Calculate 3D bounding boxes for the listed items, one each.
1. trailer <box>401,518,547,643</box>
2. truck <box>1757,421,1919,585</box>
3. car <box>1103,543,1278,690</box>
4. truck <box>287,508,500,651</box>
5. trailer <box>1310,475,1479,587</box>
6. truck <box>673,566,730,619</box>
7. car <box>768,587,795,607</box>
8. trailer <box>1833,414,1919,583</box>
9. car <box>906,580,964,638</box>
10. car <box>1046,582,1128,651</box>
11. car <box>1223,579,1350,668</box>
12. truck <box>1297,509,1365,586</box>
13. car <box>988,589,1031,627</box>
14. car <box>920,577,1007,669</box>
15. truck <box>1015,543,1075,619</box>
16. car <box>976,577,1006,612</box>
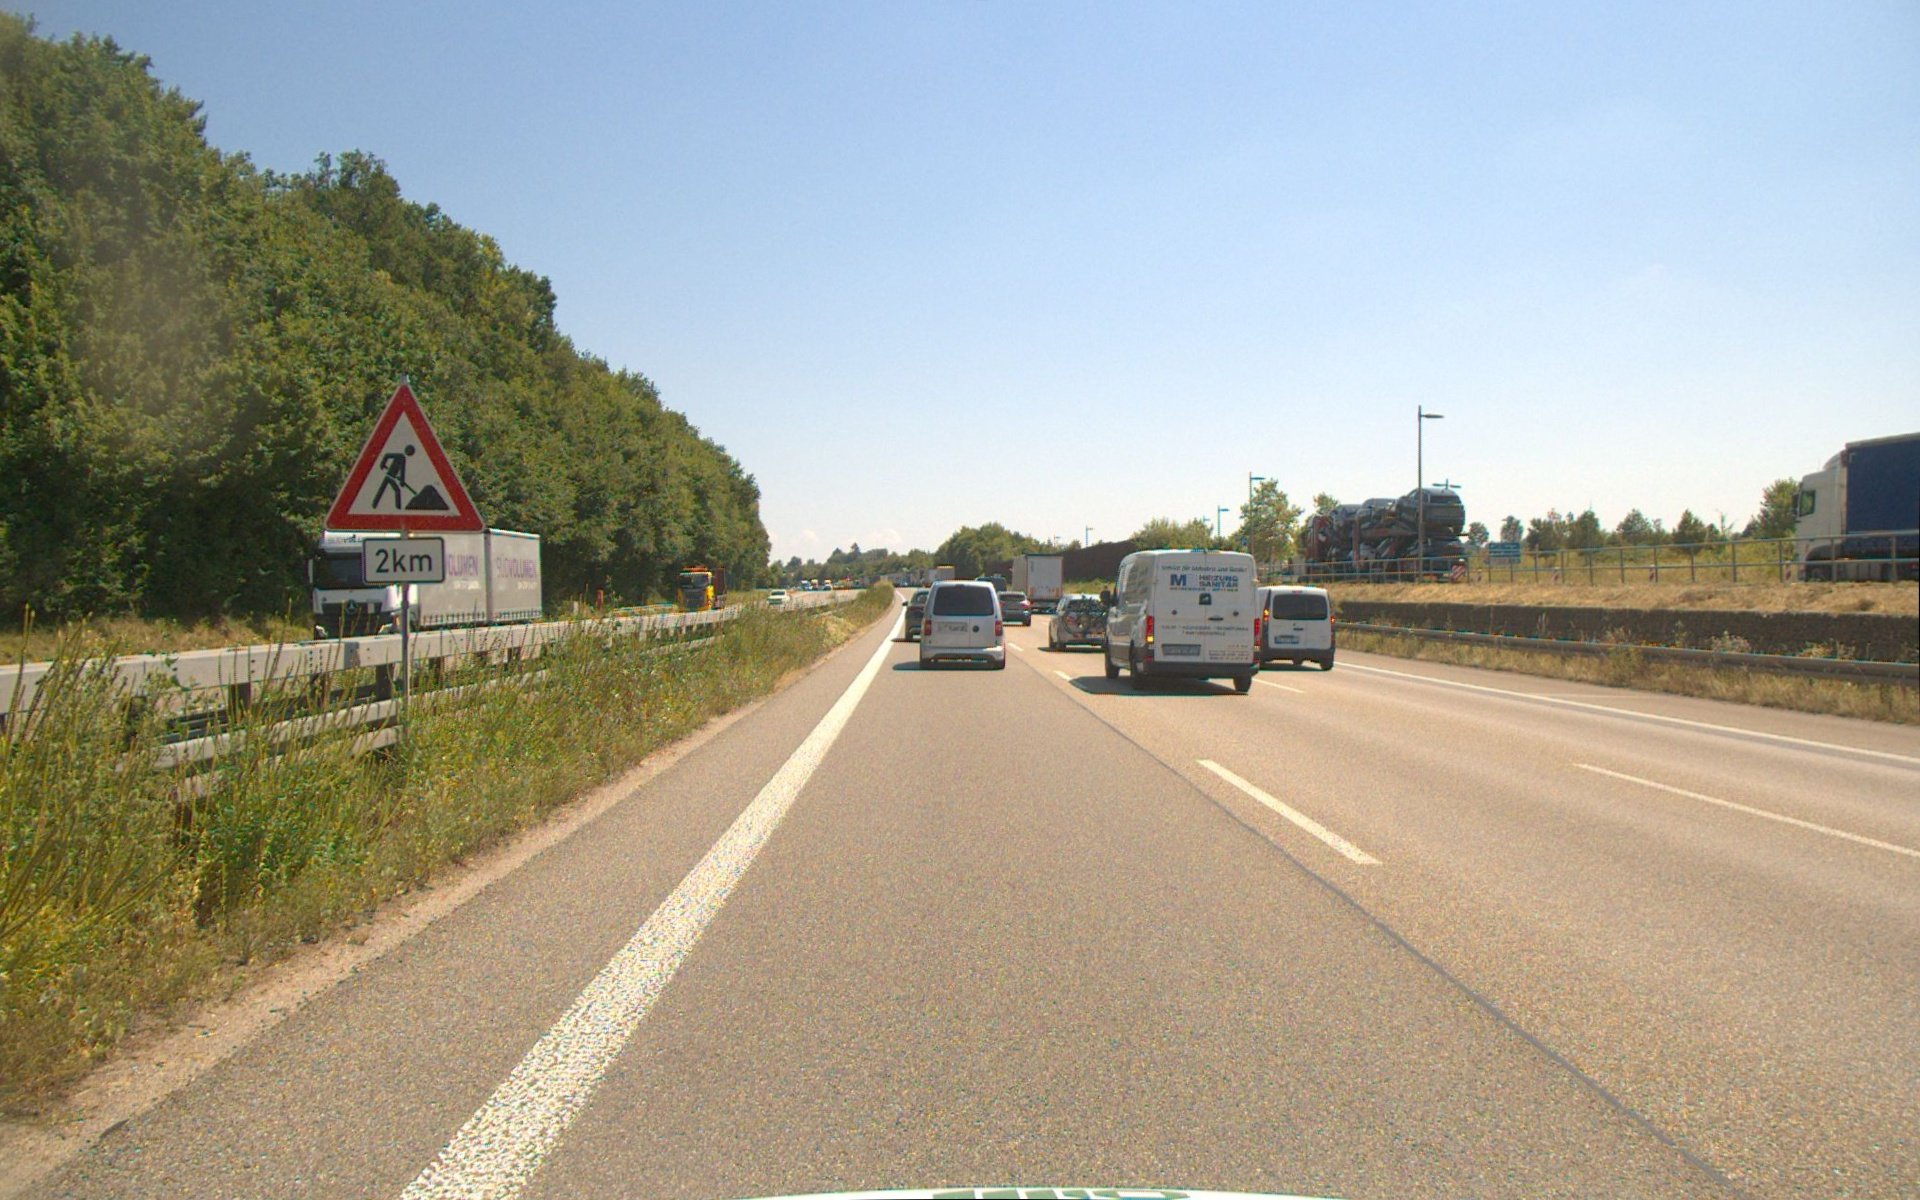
[{"bbox_3d":[-18.225,-0.674,62.606,3.384,4.354,7.966,1,0,-2],"label":"trailer"},{"bbox_3d":[25.512,-2.560,46.524,2.990,4.154,6.396,1,0,-1],"label":"truck"},{"bbox_3d":[3.877,0.266,28.844,2.138,2.293,5.361,1,0,-2],"label":"car"},{"bbox_3d":[-17.844,-0.599,53.117,3.384,4.064,11.118,-1,0,-2],"label":"truck"},{"bbox_3d":[19.703,-2.902,76.770,2.553,4.332,18.416,1,0,-1],"label":"trailer"},{"bbox_3d":[-19.333,-0.512,124.374,2.726,3.804,11.154,1,0,-2],"label":"truck"},{"bbox_3d":[-16.295,-0.269,151.405,1.953,1.699,5.609,-2,0,-2],"label":"car"},{"bbox_3d":[25.675,-2.587,38.418,2.990,4.154,14.254,1,0,-1],"label":"trailer"},{"bbox_3d":[-0.758,0.284,52.307,1.709,1.731,4.088,-1,0,1],"label":"car"},{"bbox_3d":[3.442,0.440,45.530,1.935,1.763,4.088,-1,0,0],"label":"car"},{"bbox_3d":[7.320,0.514,37.470,1.911,1.870,4.177,-1,0,-2],"label":"car"},{"bbox_3d":[19.481,-2.717,87.118,2.549,3.894,3.999,1,0,-1],"label":"truck"},{"bbox_3d":[2.277,0.350,77.088,1.863,1.701,4.088,-1,0,0],"label":"car"},{"bbox_3d":[0.080,0.460,34.776,1.709,1.795,4.088,-1,0,0],"label":"car"},{"bbox_3d":[6.019,-1.278,119.430,3.710,5.087,12.518,1,0,0],"label":"truck"},{"bbox_3d":[1.780,-0.291,95.163,1.640,1.925,4.088,-1,0,0],"label":"car"}]
